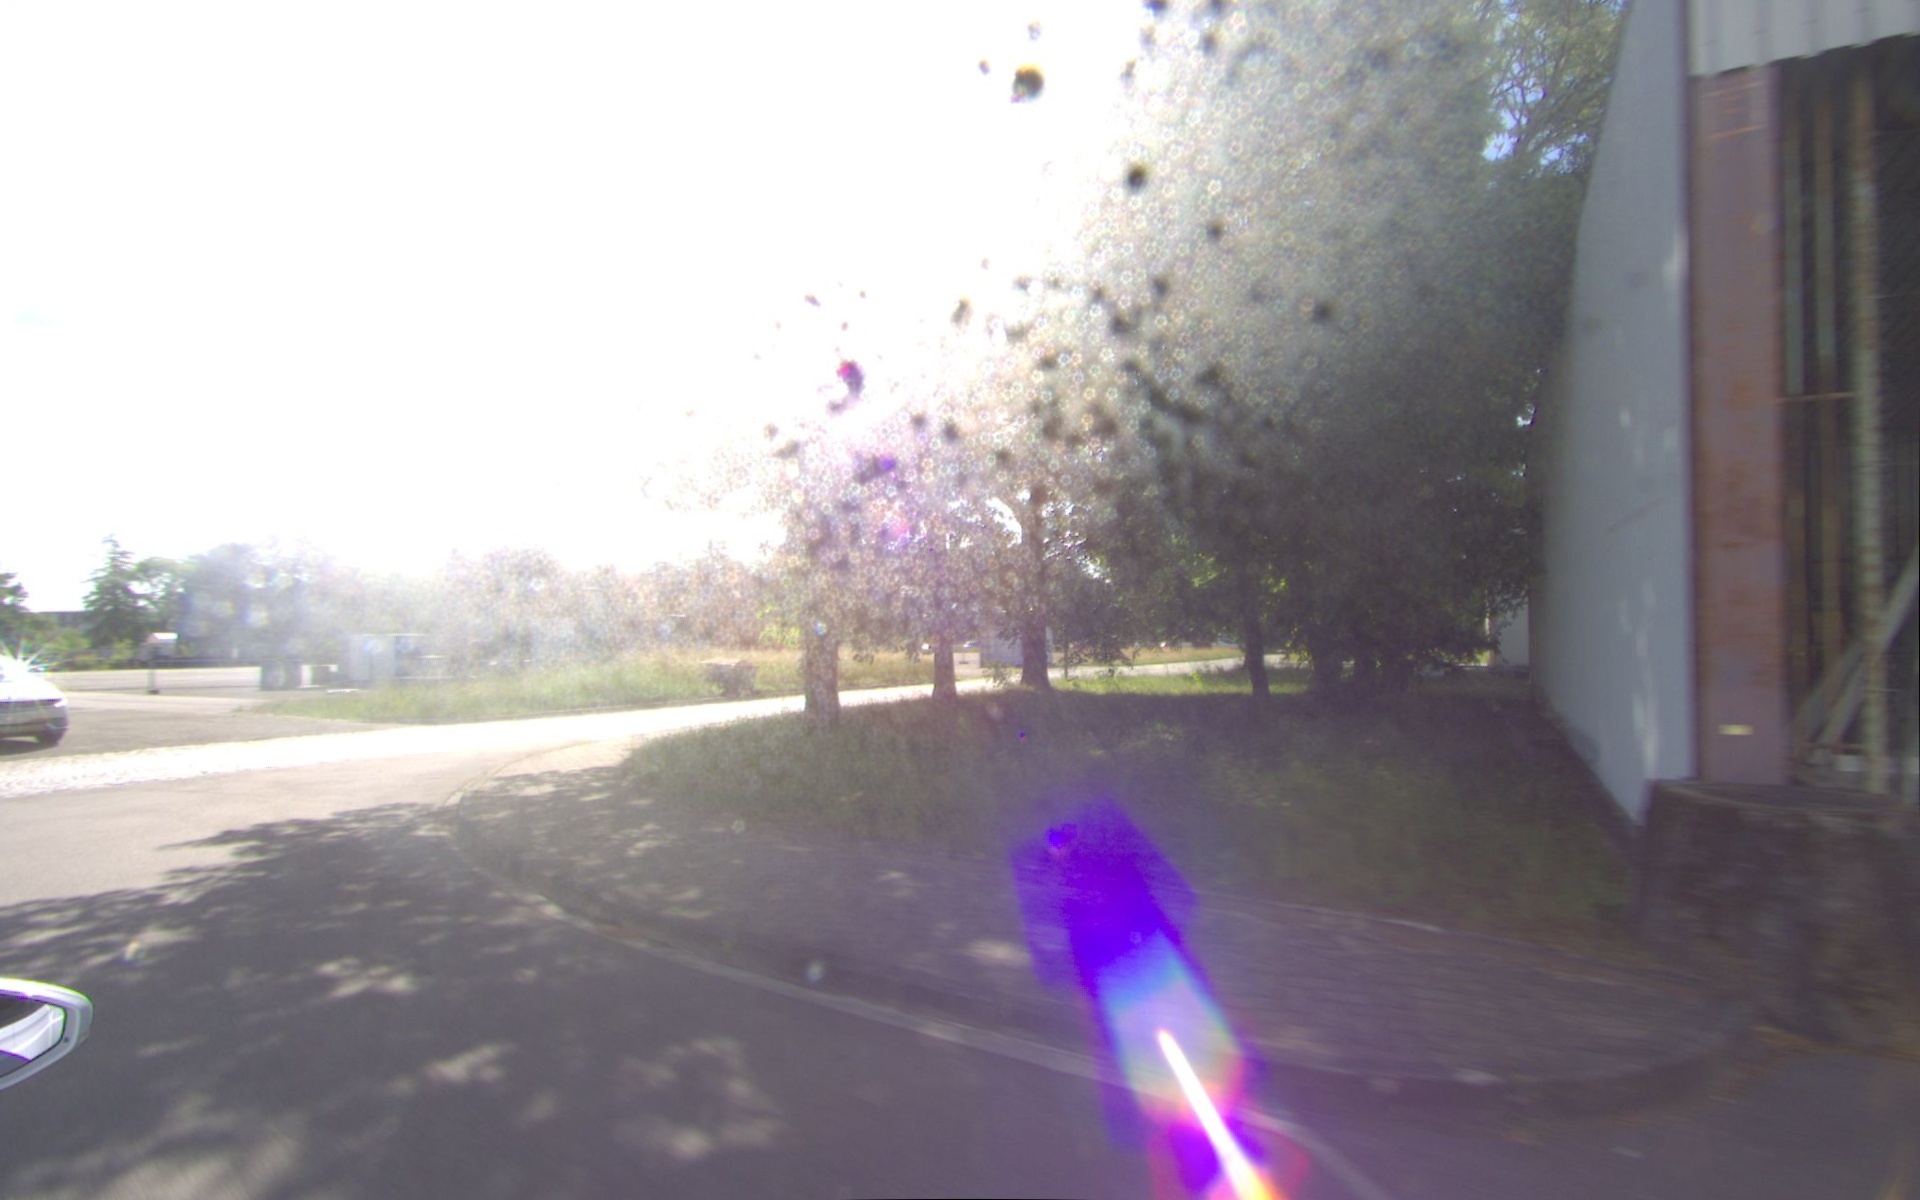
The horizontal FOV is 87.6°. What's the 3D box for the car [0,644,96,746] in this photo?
[{"bbox_3d":[-17.449,1.594,17.567,4.271,1.613,1.981,0,-2,27],"label":"car"}]
